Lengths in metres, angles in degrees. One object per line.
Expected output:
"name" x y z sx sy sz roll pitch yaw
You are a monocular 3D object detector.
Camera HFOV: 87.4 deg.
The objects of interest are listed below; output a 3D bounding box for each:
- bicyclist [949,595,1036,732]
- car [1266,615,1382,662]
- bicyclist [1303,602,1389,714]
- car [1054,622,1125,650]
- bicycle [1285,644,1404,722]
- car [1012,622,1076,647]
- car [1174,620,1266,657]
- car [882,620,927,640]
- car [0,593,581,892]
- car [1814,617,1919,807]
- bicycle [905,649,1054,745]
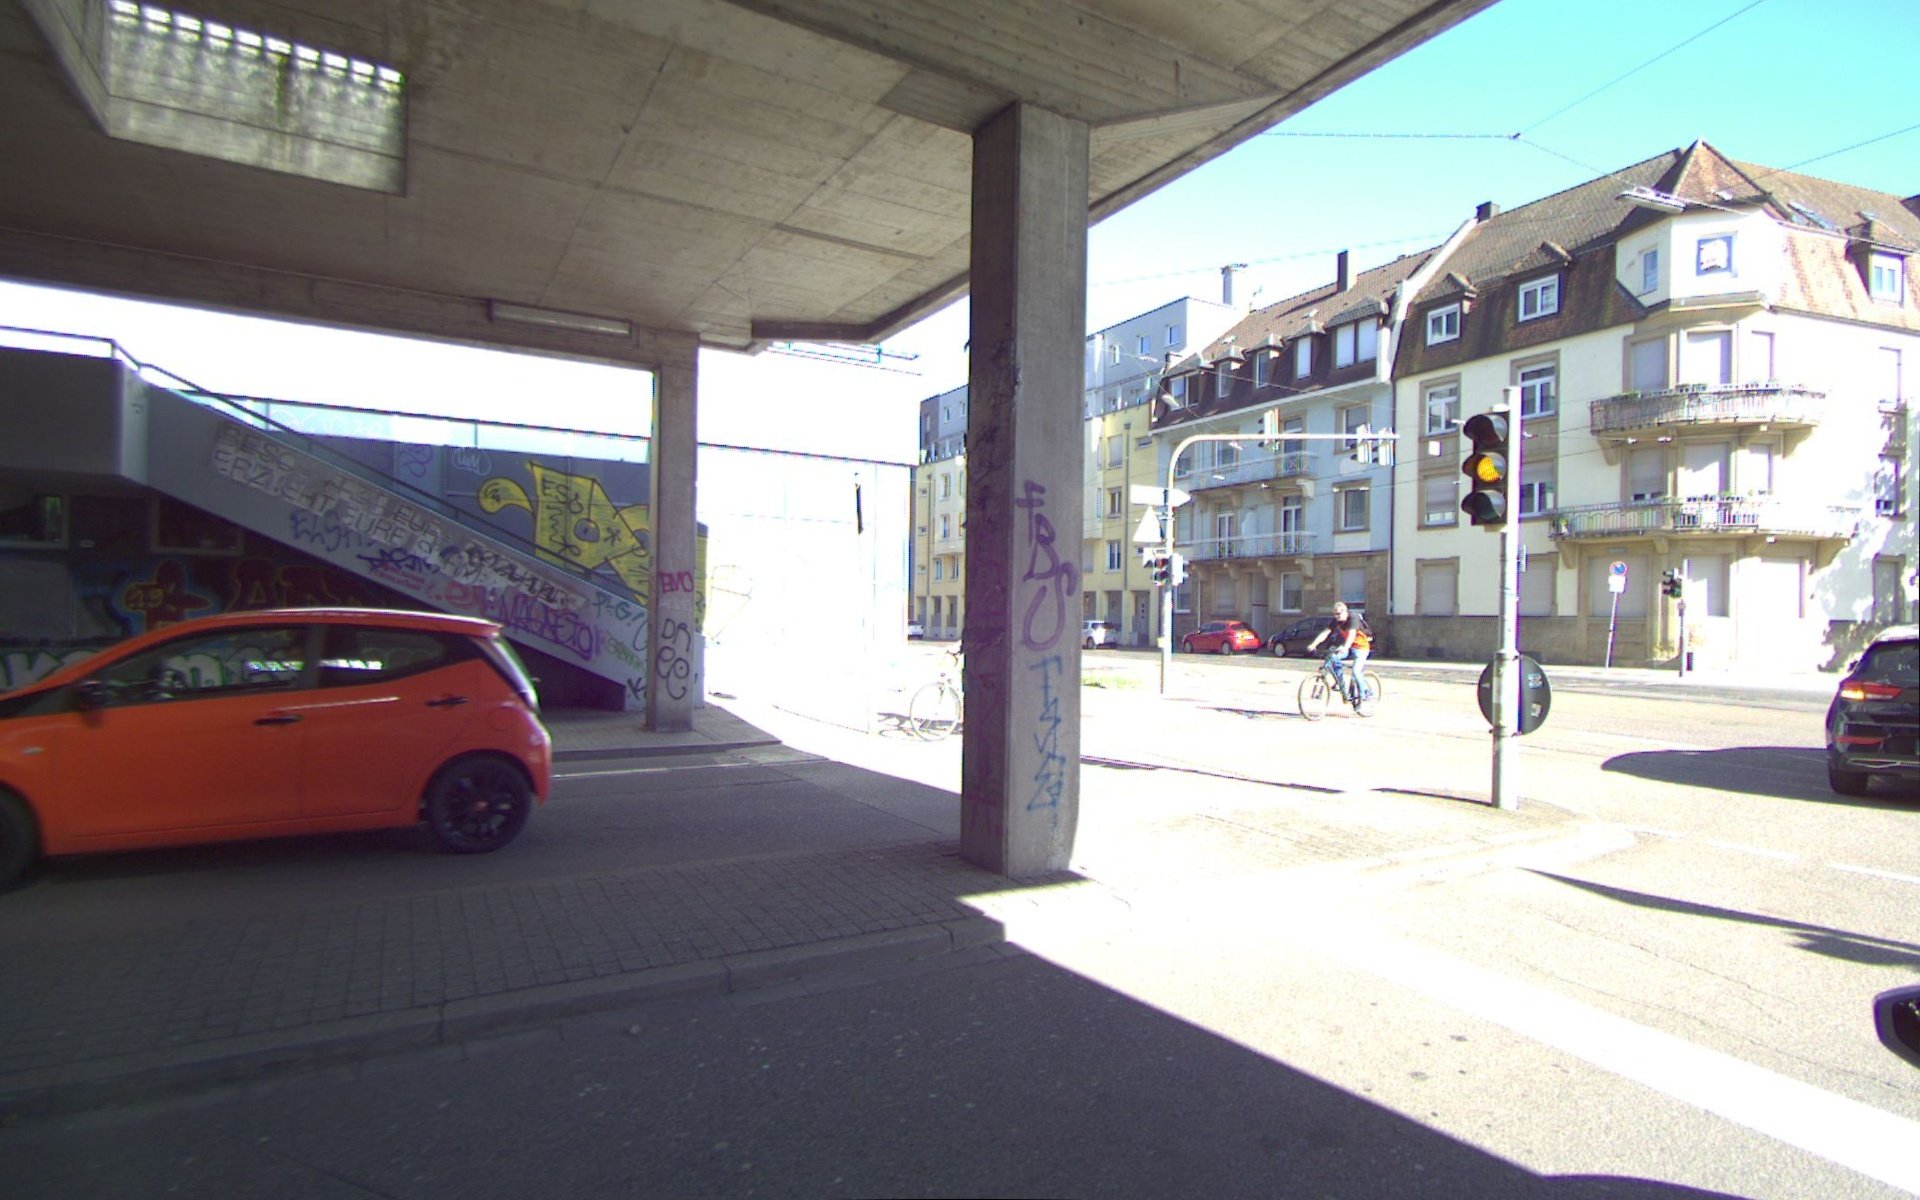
"bicyclist" 0.408 0.778 12.587 0.899 1.654 0.603 1 -1 -30
"car" 14.387 1.492 39.956 1.938 1.747 4.143 0 -1 -28
"bicyclist" 6.026 0.882 15.685 1.018 1.682 0.779 1 -1 -28
"car" 6.841 1.895 53.467 1.974 1.381 3.815 0 -1 -27
"bicycle" 6.009 1.264 15.669 2.032 1.138 0.539 1 -1 -28
"car" 4.767 1.947 57.366 1.939 1.381 3.815 0 -1 -27
"car" 11.608 1.676 45.047 1.875 1.561 3.863 0 -1 -28
"car" -4.073 2.162 73.480 1.939 1.381 3.815 0 -1 -27
"car" -4.227 0.726 6.096 3.420 1.460 1.651 1 -1 -29
"car" 9.317 0.901 9.069 4.291 1.470 1.786 1 -1 -40
"bicycle" 0.262 1.170 12.502 1.838 1.105 0.523 1 -1 -30
